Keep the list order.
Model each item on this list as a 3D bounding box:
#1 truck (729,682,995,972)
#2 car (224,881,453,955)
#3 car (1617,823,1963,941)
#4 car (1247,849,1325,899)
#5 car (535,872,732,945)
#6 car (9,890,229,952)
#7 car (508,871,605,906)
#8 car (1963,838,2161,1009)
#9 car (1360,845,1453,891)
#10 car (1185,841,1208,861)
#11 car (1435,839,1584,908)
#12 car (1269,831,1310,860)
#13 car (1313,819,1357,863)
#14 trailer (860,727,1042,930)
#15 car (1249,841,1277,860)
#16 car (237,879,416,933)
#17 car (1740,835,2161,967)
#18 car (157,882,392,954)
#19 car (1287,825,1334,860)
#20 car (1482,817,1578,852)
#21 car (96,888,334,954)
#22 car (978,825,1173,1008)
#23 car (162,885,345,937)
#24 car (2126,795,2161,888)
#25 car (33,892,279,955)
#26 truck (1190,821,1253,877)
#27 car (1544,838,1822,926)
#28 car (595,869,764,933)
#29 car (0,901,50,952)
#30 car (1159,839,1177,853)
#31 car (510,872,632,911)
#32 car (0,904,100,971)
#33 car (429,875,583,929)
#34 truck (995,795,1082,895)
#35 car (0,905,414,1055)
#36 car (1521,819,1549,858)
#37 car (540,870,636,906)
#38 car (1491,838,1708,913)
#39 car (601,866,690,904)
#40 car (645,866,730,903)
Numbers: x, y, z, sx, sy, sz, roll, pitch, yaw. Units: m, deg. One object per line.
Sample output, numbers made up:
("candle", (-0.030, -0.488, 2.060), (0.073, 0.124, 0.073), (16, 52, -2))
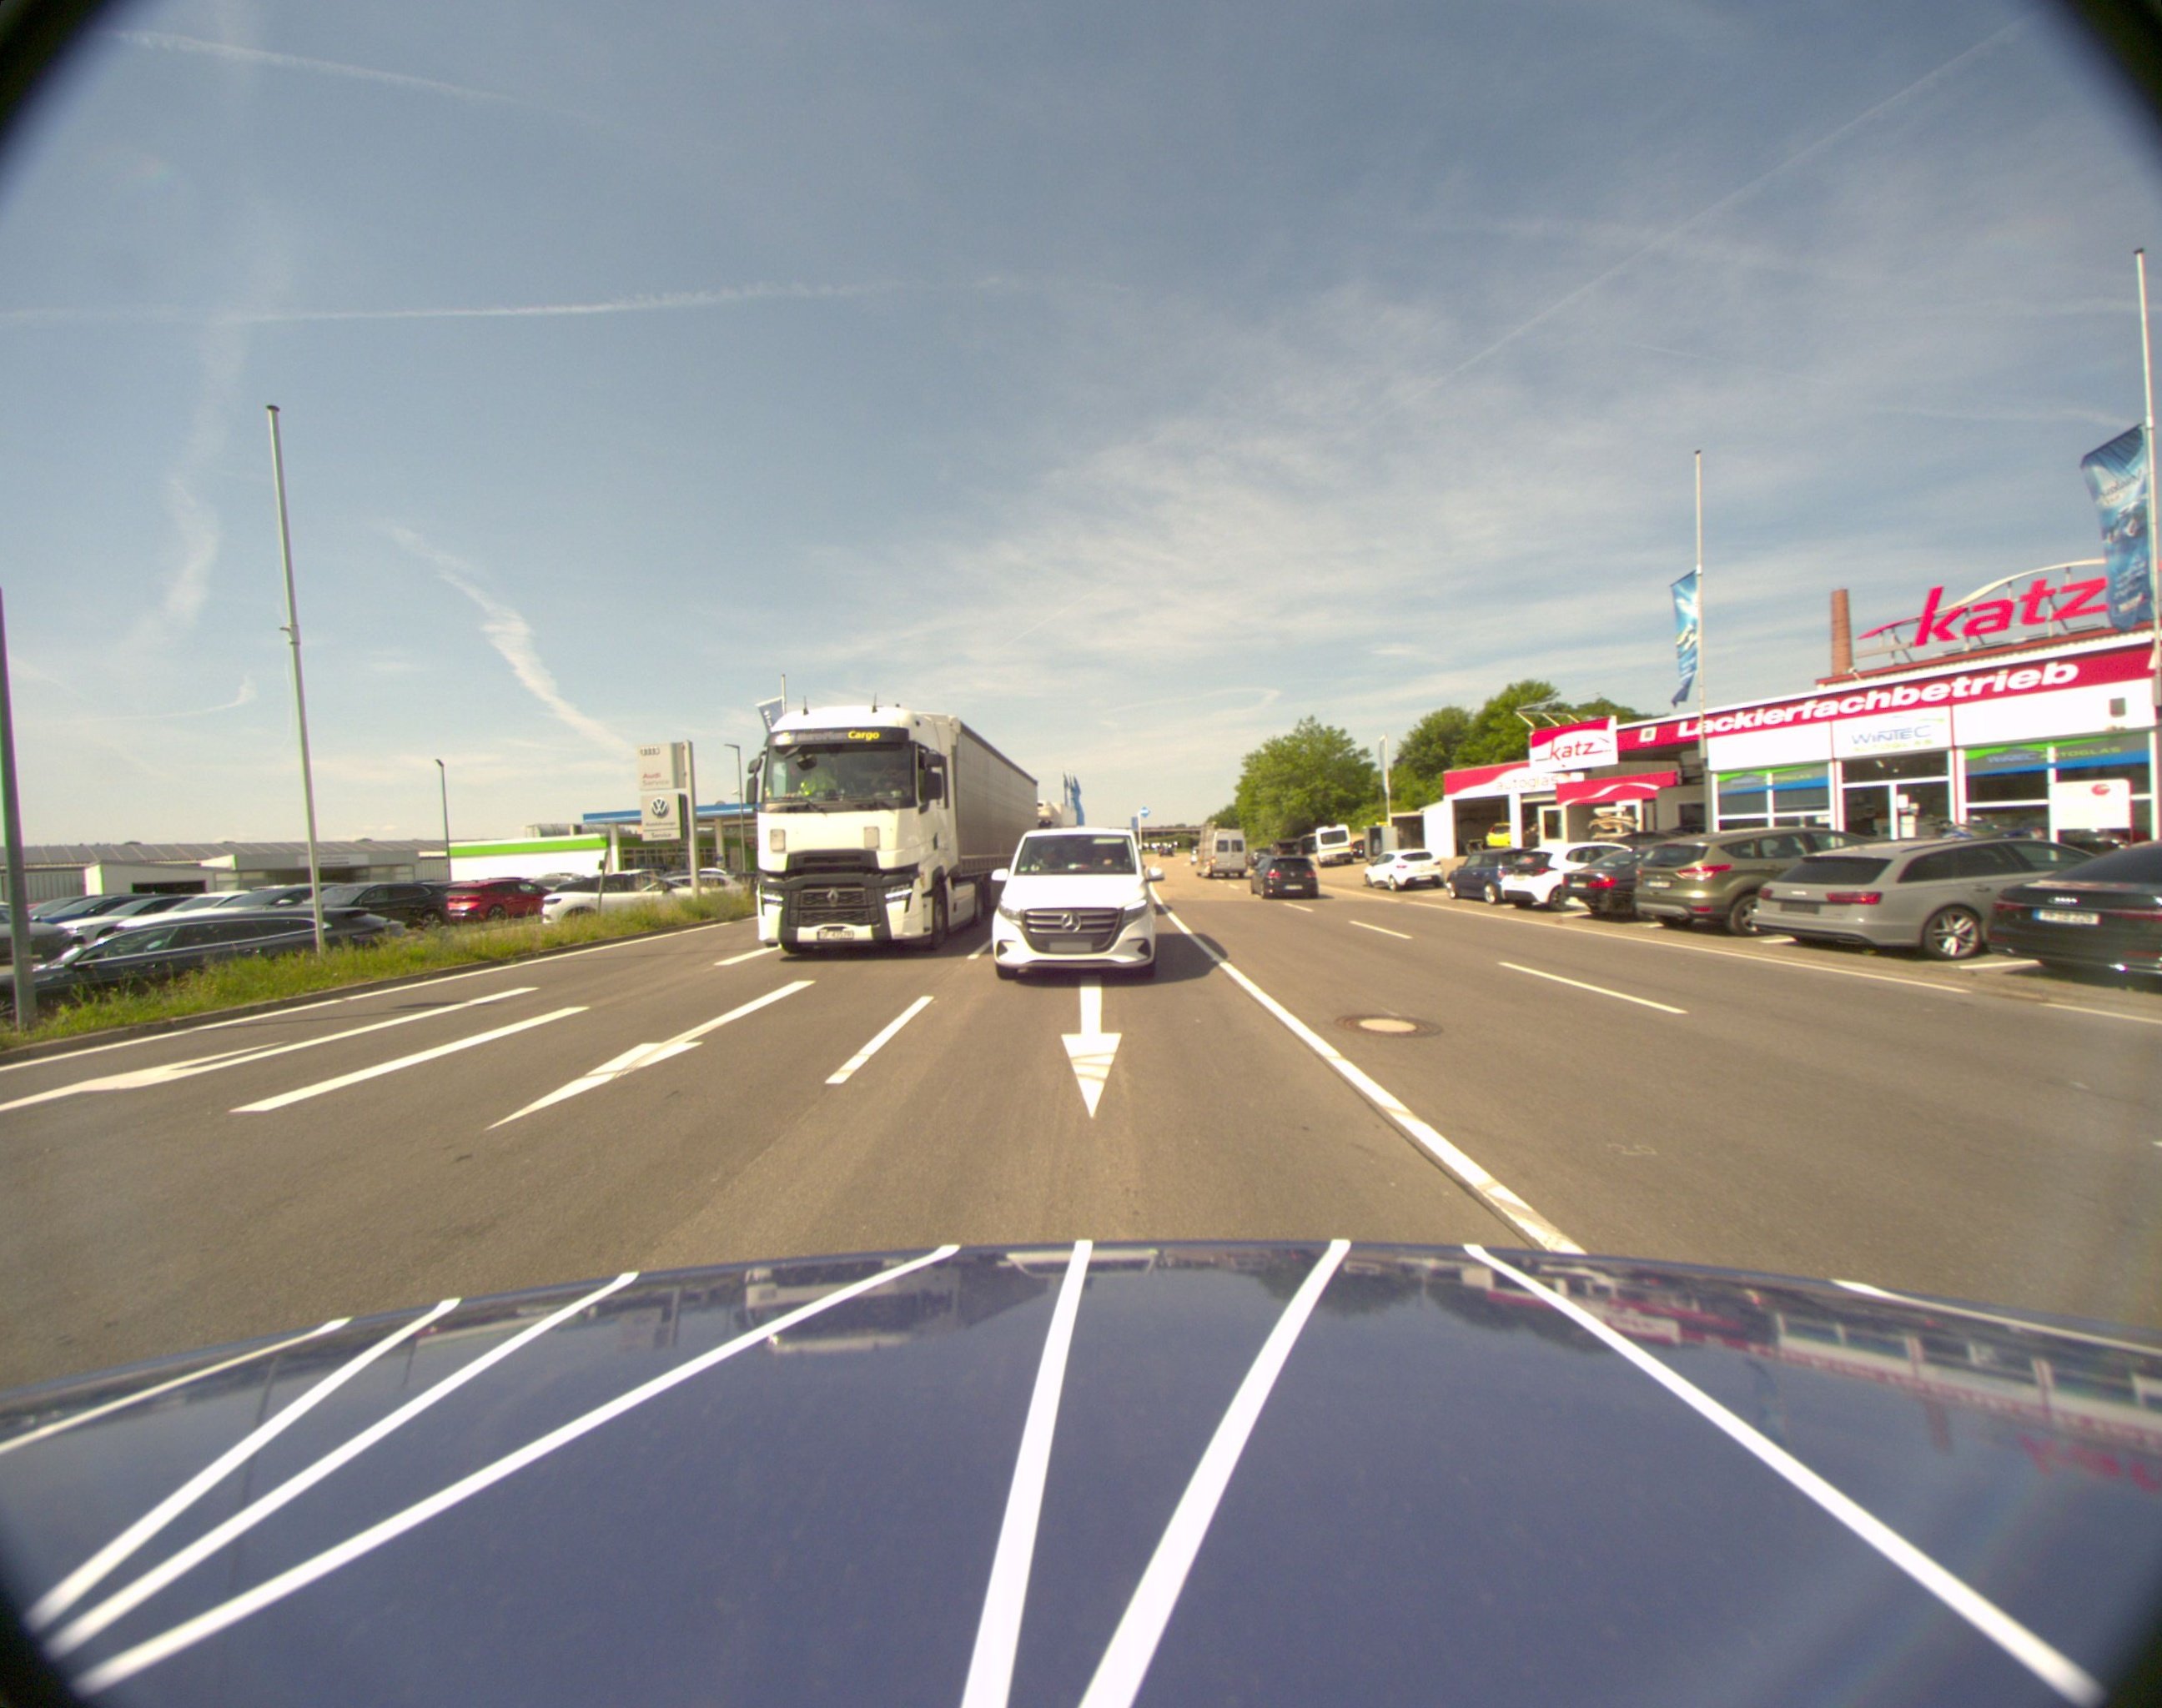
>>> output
("truck", (-3.416, -0.399, 13.665), (2.647, 3.964, 6.042), (-2, 1, 3))
("car", (-20.995, 1.725, 21.810), (1.774, 1.645, 4.539), (-2, 1, 6))
("car", (11.700, 0.429, 12.789), (3.996, 1.717, 1.871), (-2, 1, 2))
("car", (6.787, 0.608, 25.540), (1.858, 1.452, 4.001), (-2, 1, 5))
("car", (-12.327, 1.440, 21.313), (4.543, 1.645, 1.772), (-2, 1, -26))
("car", (-30.775, 2.083, 24.531), (1.607, 1.523, 4.130), (-2, 1, 6))
("car", (-27.299, 1.761, 39.755), (1.720, 1.571, 4.325), (-2, 1, 6))
("car", (11.733, 0.579, 7.447), (3.996, 1.474, 1.756), (-2, 1, 3))
("car", (11.842, 0.470, 27.913), (1.765, 1.406, 4.000), (-5, 1, 3))
("car", (10.724, -0.283, 70.689), (2.053, 1.812, 4.510), (0, 1, 7))
("car", (11.744, 0.475, 21.181), (1.998, 1.546, 4.001), (-6, 0, 4))
("car", (18.136, -0.727, 66.286), (2.438, 2.250, 5.341), (-3, 0, 5))
("car", (16.475, -0.845, 49.030), (2.435, 2.529, 6.049), (-3, 0, 20))
("trailer", (-3.039, -0.595, 21.750), (2.613, 4.203, 11.292), (-2, 1, 3))
("car", (14.971, -0.285, 62.733), (1.827, 1.517, 4.461), (0, 1, 7))
("car", (-28.164, 1.889, 28.622), (1.773, 1.645, 4.541), (-2, 1, 10))
("car", (11.574, 0.561, 10.213), (3.974, 1.484, 1.739), (-2, 1, -2))
("car", (-23.503, 1.801, 22.465), (1.774, 1.645, 4.539), (-2, 1, 6))
("car", (18.172, -0.871, 60.426), (2.438, 2.529, 5.341), (-3, 0, 5))
("car", (24.200, -1.046, 40.966), (4.539, 1.644, 1.873), (-3, 1, -17))
("car", (-25.932, 1.940, 23.048), (1.689, 1.517, 4.539), (-2, 1, 6))
("car", (-0.022, 0.627, 10.886), (1.993, 1.858, 5.803), (-2, 1, 1))
("car", (-32.769, 2.206, 30.294), (1.772, 1.645, 4.543), (-2, 1, 17))
("car", (20.470, -0.269, 11.849), (1.877, 1.644, 4.529), (-3, 1, -16))
("car", (-28.234, 2.055, 23.482), (1.774, 1.433, 4.539), (-2, 1, 6))
("truck", (7.758, -0.304, 42.665), (2.442, 2.820, 6.041), (-2, 1, 1))
("car", (11.916, 0.508, 15.262), (3.997, 1.516, 1.999), (-2, 1, -1))
("car", (-12.574, 1.417, 24.126), (4.543, 1.645, 1.772), (-2, 1, -24))
("car", (-39.755, 2.630, 27.400), (4.527, 1.718, 2.072), (-2, 1, 24))
("car", (11.851, -1.084, 103.576), (2.052, 1.812, 4.512), (0, 1, 12))
("car", (-23.300, 1.707, 34.808), (4.532, 1.571, 1.777), (-2, 1, 8))
("car", (-27.716, 2.095, 19.065), (4.530, 1.450, 1.951), (-2, 1, 12))
("car", (-20.602, 1.673, 27.516), (1.774, 1.571, 4.539), (-2, 1, 6))
("truck", (-1.709, -0.407, 35.256), (2.646, 3.964, 9.241), (-2, 1, 4))
("car", (-13.024, 1.737, 11.156), (4.545, 1.571, 1.772), (-2, 1, -30))
("car", (21.979, -0.740, 36.787), (0.881, 1.825, 0.846), (-2, 1, 14))
("car", (-25.032, 1.696, 38.792), (1.774, 1.571, 4.239), (-2, 1, 6))
("car", (12.146, 0.470, 17.996), (3.798, 1.542, 1.941), (-2, 1, -1))
("car", (-22.256, 1.534, 39.041), (1.712, 1.703, 4.261), (-2, 1, 6))
("car", (-19.909, 1.511, 38.633), (1.774, 1.571, 4.149), (-2, 1, 6))
